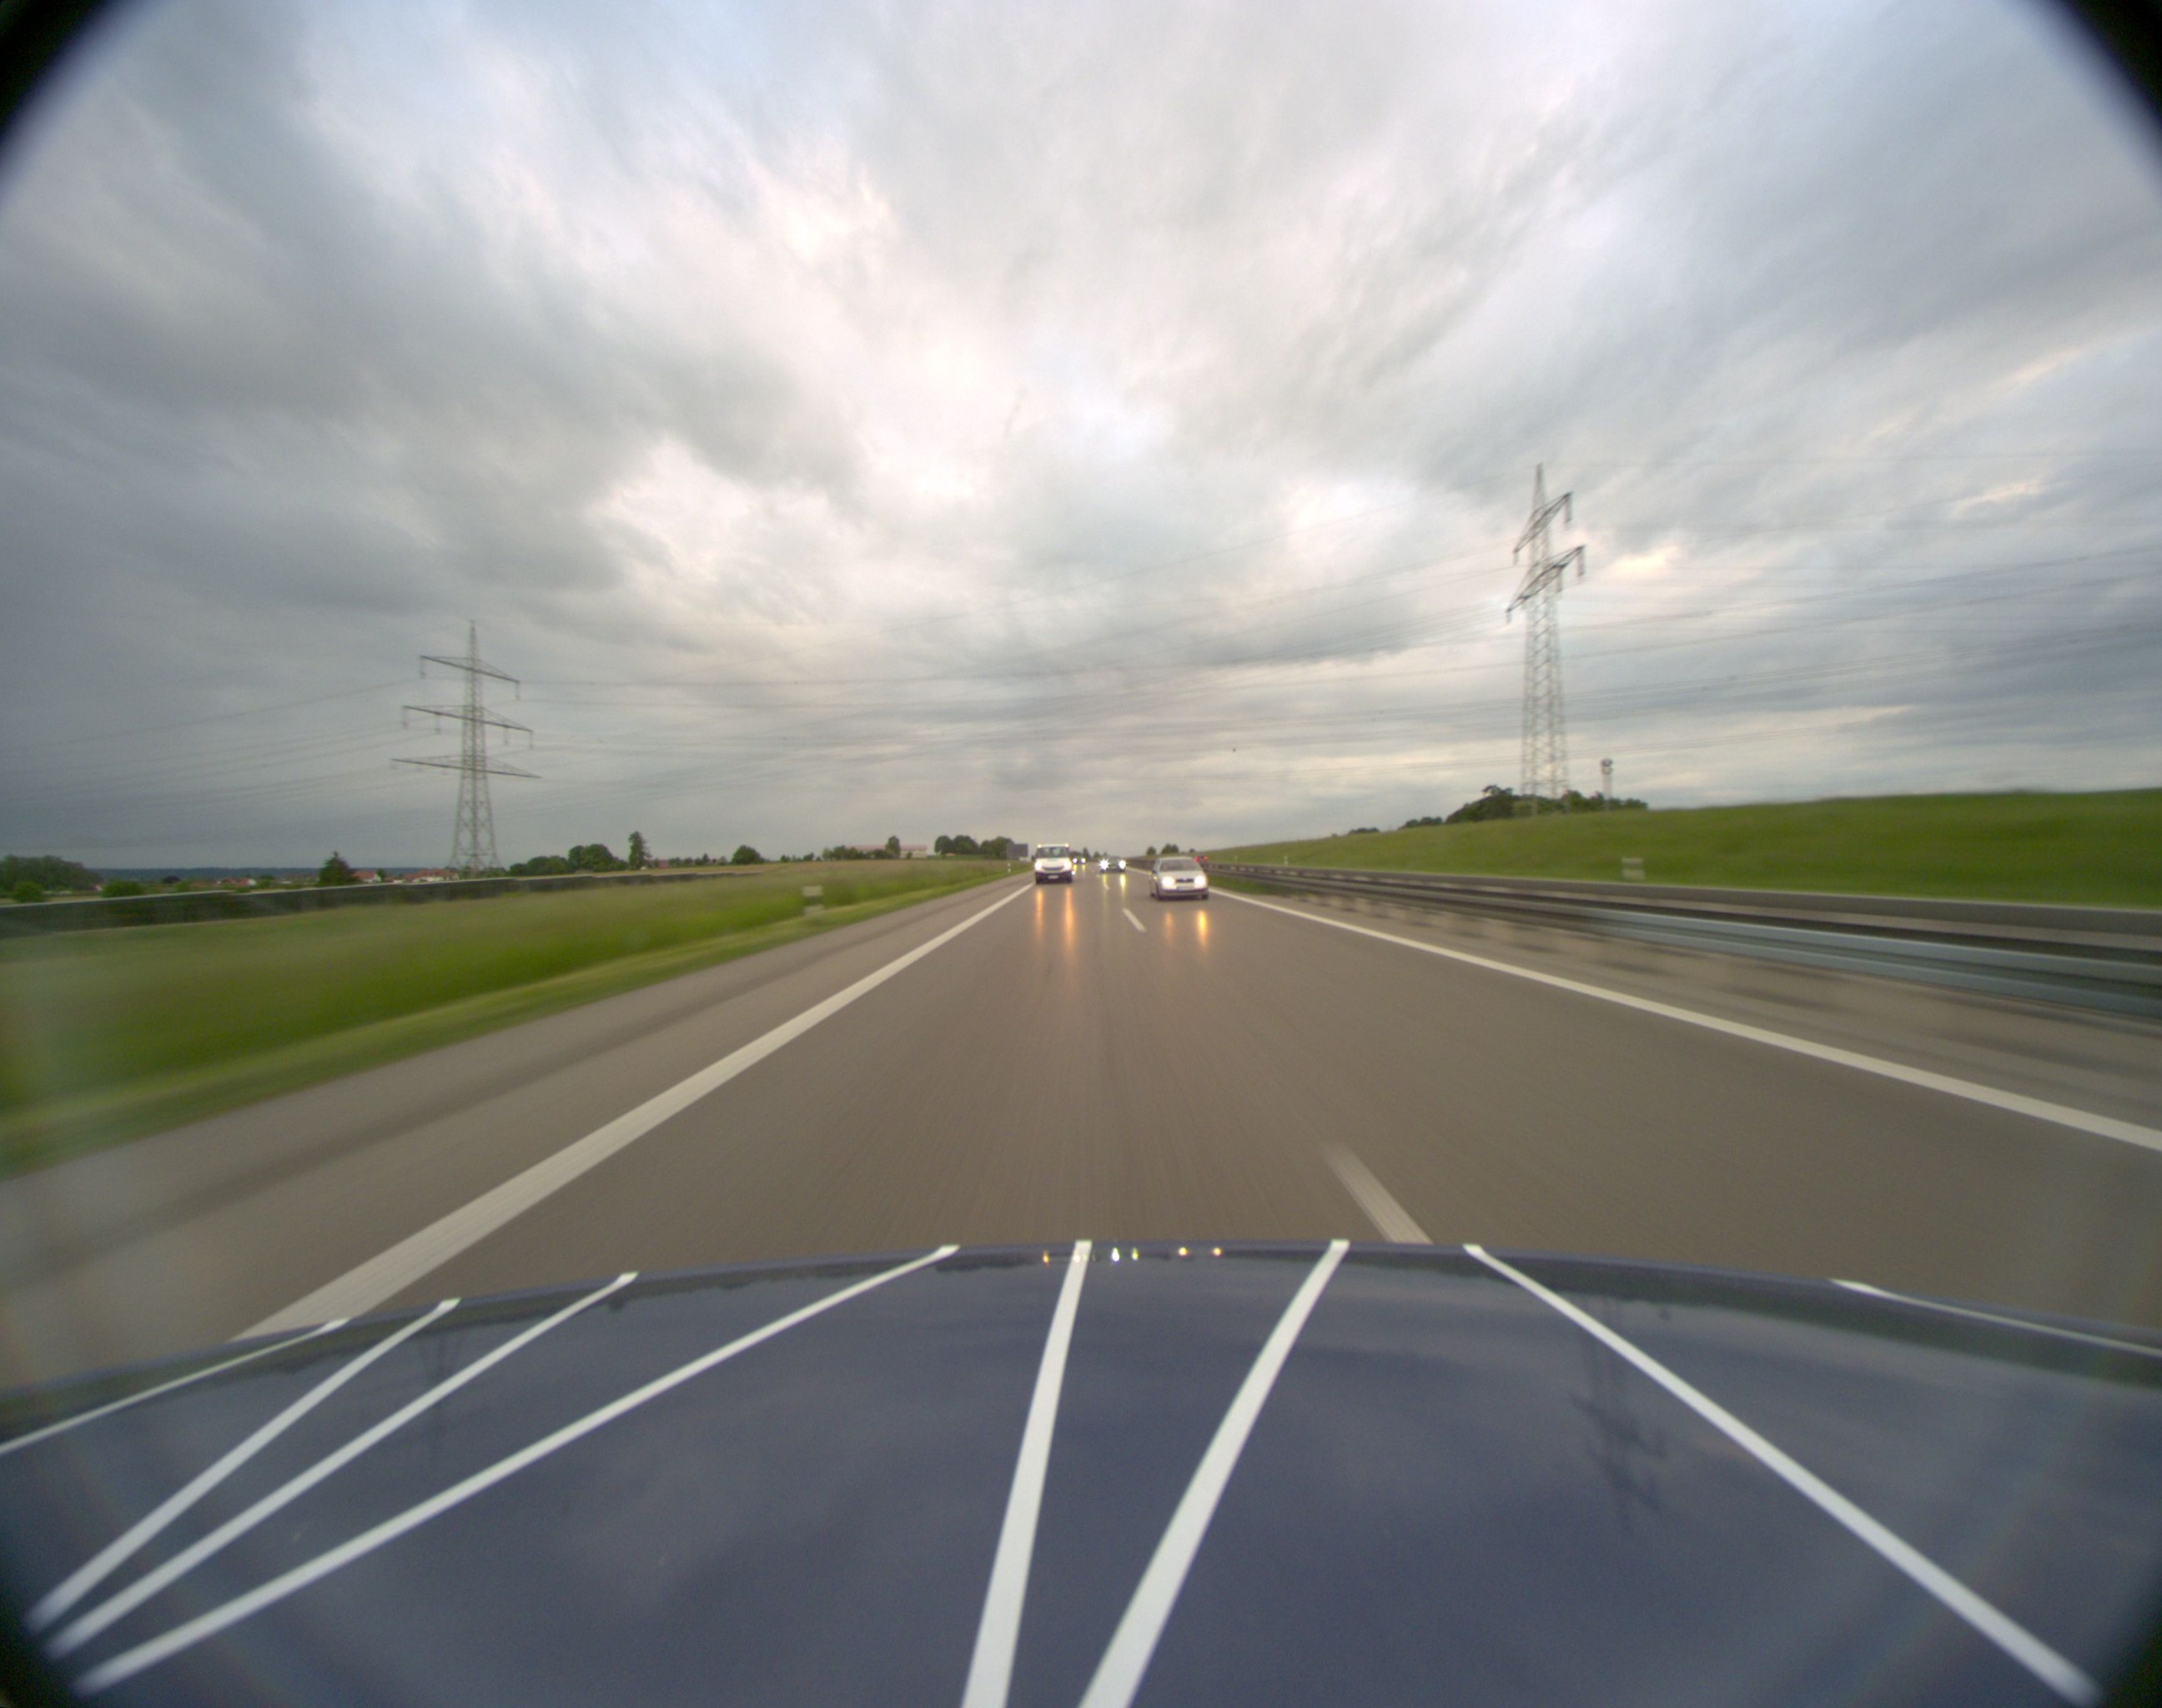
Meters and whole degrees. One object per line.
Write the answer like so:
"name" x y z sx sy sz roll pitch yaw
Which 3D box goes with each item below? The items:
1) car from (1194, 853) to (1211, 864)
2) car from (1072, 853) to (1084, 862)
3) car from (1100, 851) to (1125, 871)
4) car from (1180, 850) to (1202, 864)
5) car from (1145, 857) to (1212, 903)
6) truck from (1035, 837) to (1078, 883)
"car" 16.885 0.593 105.742 1.532 1.425 4.434 -2 0 0
"car" -0.528 0.613 139.717 1.808 1.619 3.901 -1 0 -6
"car" 2.659 0.578 64.234 1.951 1.620 4.536 -1 0 1
"car" 12.416 0.353 85.822 1.743 1.448 5.121 -2 0 1
"car" 3.205 0.814 25.783 1.592 1.381 4.600 0 0 -1
"truck" -1.352 0.317 44.314 2.177 2.346 7.695 -2 0 -1
